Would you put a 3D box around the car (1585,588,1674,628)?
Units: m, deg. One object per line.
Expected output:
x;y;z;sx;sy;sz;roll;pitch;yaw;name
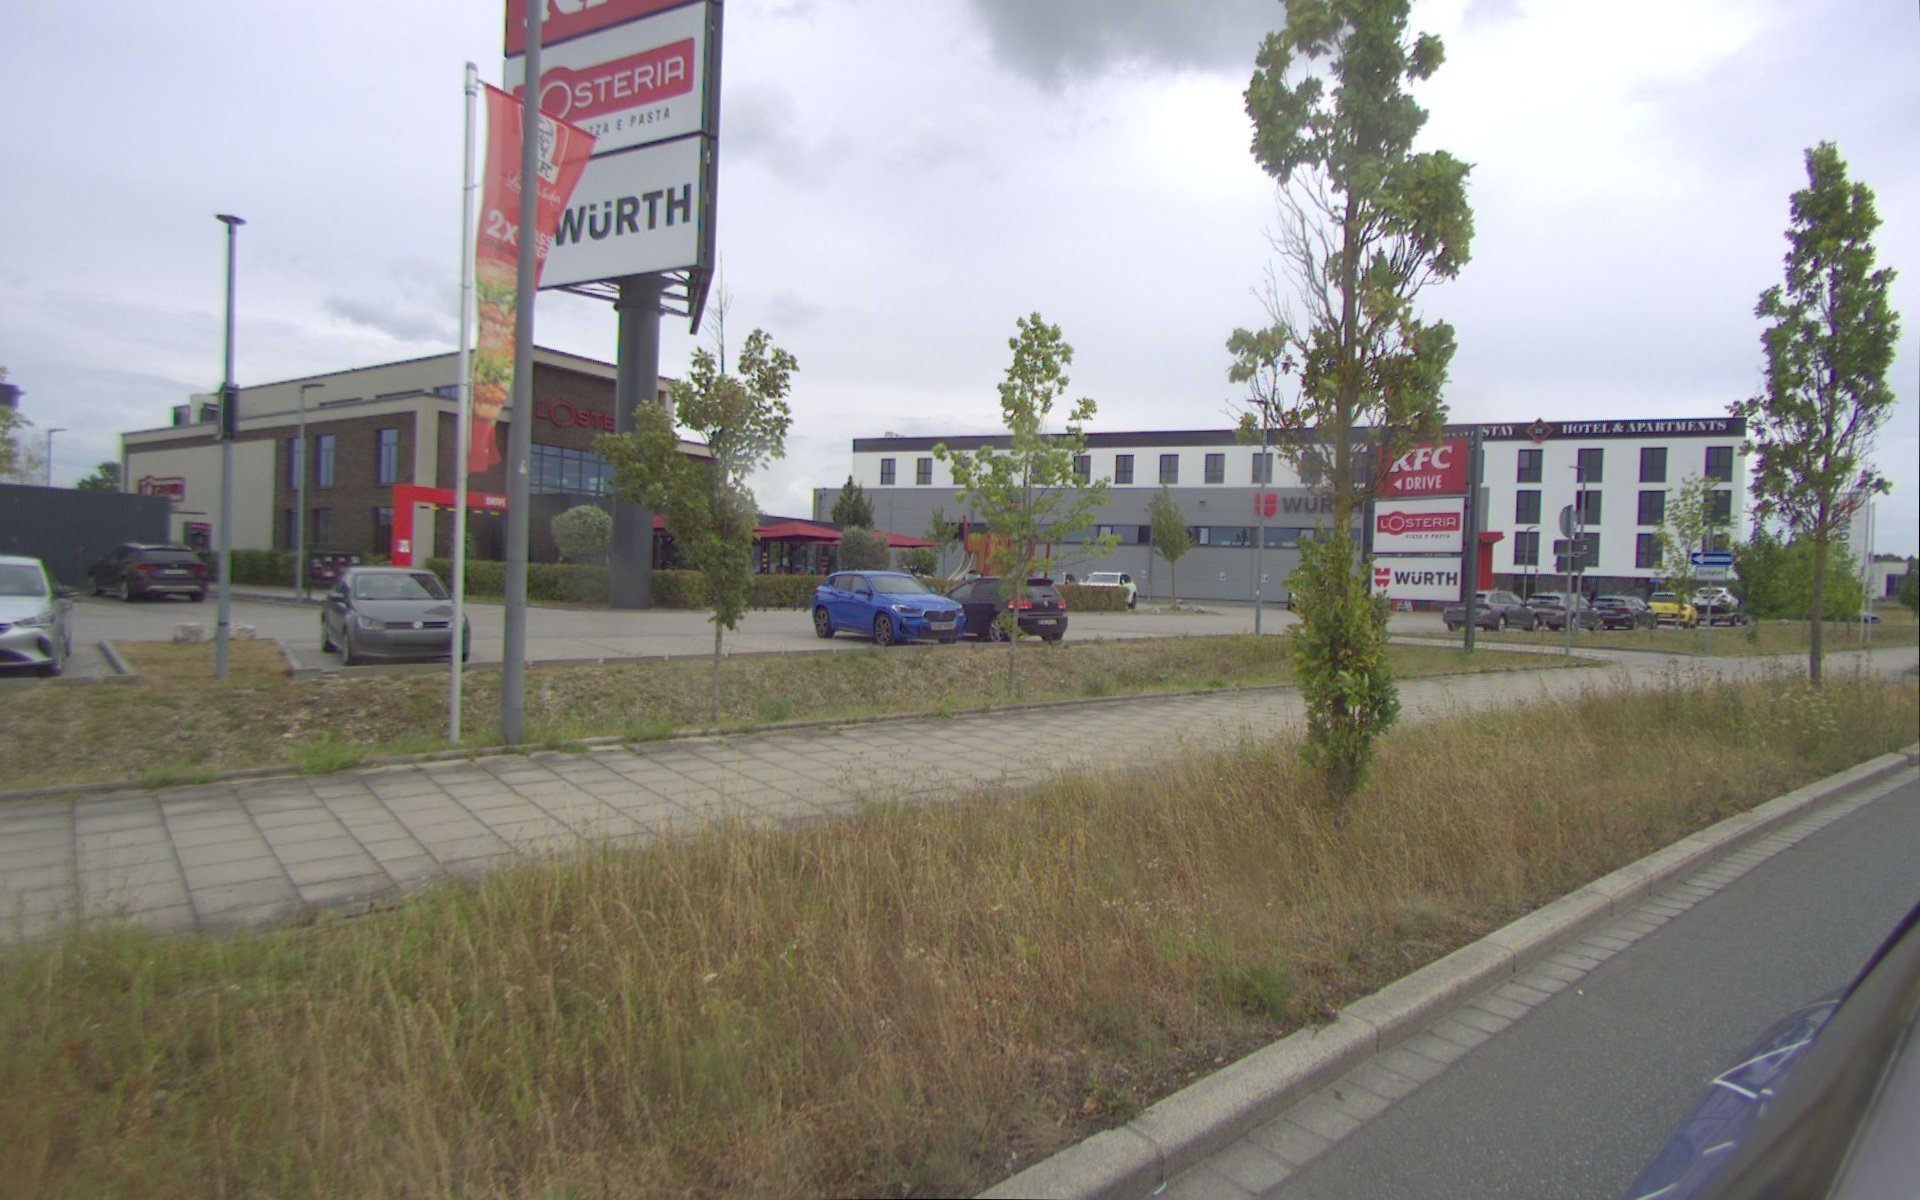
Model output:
28.232;0.308;42.633;4.528;1.515;1.997;-1;3;-41;car

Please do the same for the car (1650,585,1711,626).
33.188;0.245;46.587;1.762;1.707;4.344;3;1;42;car

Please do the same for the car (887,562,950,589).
-2.563;-1.537;63.878;2.060;1.537;4.536;3;2;26;car

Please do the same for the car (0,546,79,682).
-12.644;0.092;13.023;1.868;1.499;3.871;1;3;-40;car

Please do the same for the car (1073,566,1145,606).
6.954;-0.634;46.799;1.979;1.718;4.751;2;1;25;car

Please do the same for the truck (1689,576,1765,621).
44.453;-0.065;58.543;8.077;2.354;2.229;1;1;-44;truck

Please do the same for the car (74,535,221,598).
-22.435;-0.940;27.890;4.545;1.537;1.875;4;2;34;car

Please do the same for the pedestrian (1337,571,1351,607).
20.246;-0.585;53.343;0.607;1.892;0.797;2;0;19;pedestrian

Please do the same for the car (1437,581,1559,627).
18.920;0.155;35.508;4.742;1.478;1.968;1;1;-37;car

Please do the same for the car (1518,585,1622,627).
23.406;0.241;38.770;4.792;1.455;1.868;1;1;-39;car

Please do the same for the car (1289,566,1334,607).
18.709;-0.703;53.702;1.977;2.012;4.601;2;1;22;car

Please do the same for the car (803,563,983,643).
-1.565;0.007;22.135;1.929;1.539;4.276;1;2;-36;car

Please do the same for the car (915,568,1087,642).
0.844;0.059;23.125;1.943;1.512;4.002;1;2;-33;car

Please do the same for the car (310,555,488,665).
-8.902;0.076;15.910;1.855;1.512;3.768;1;2;-38;car
